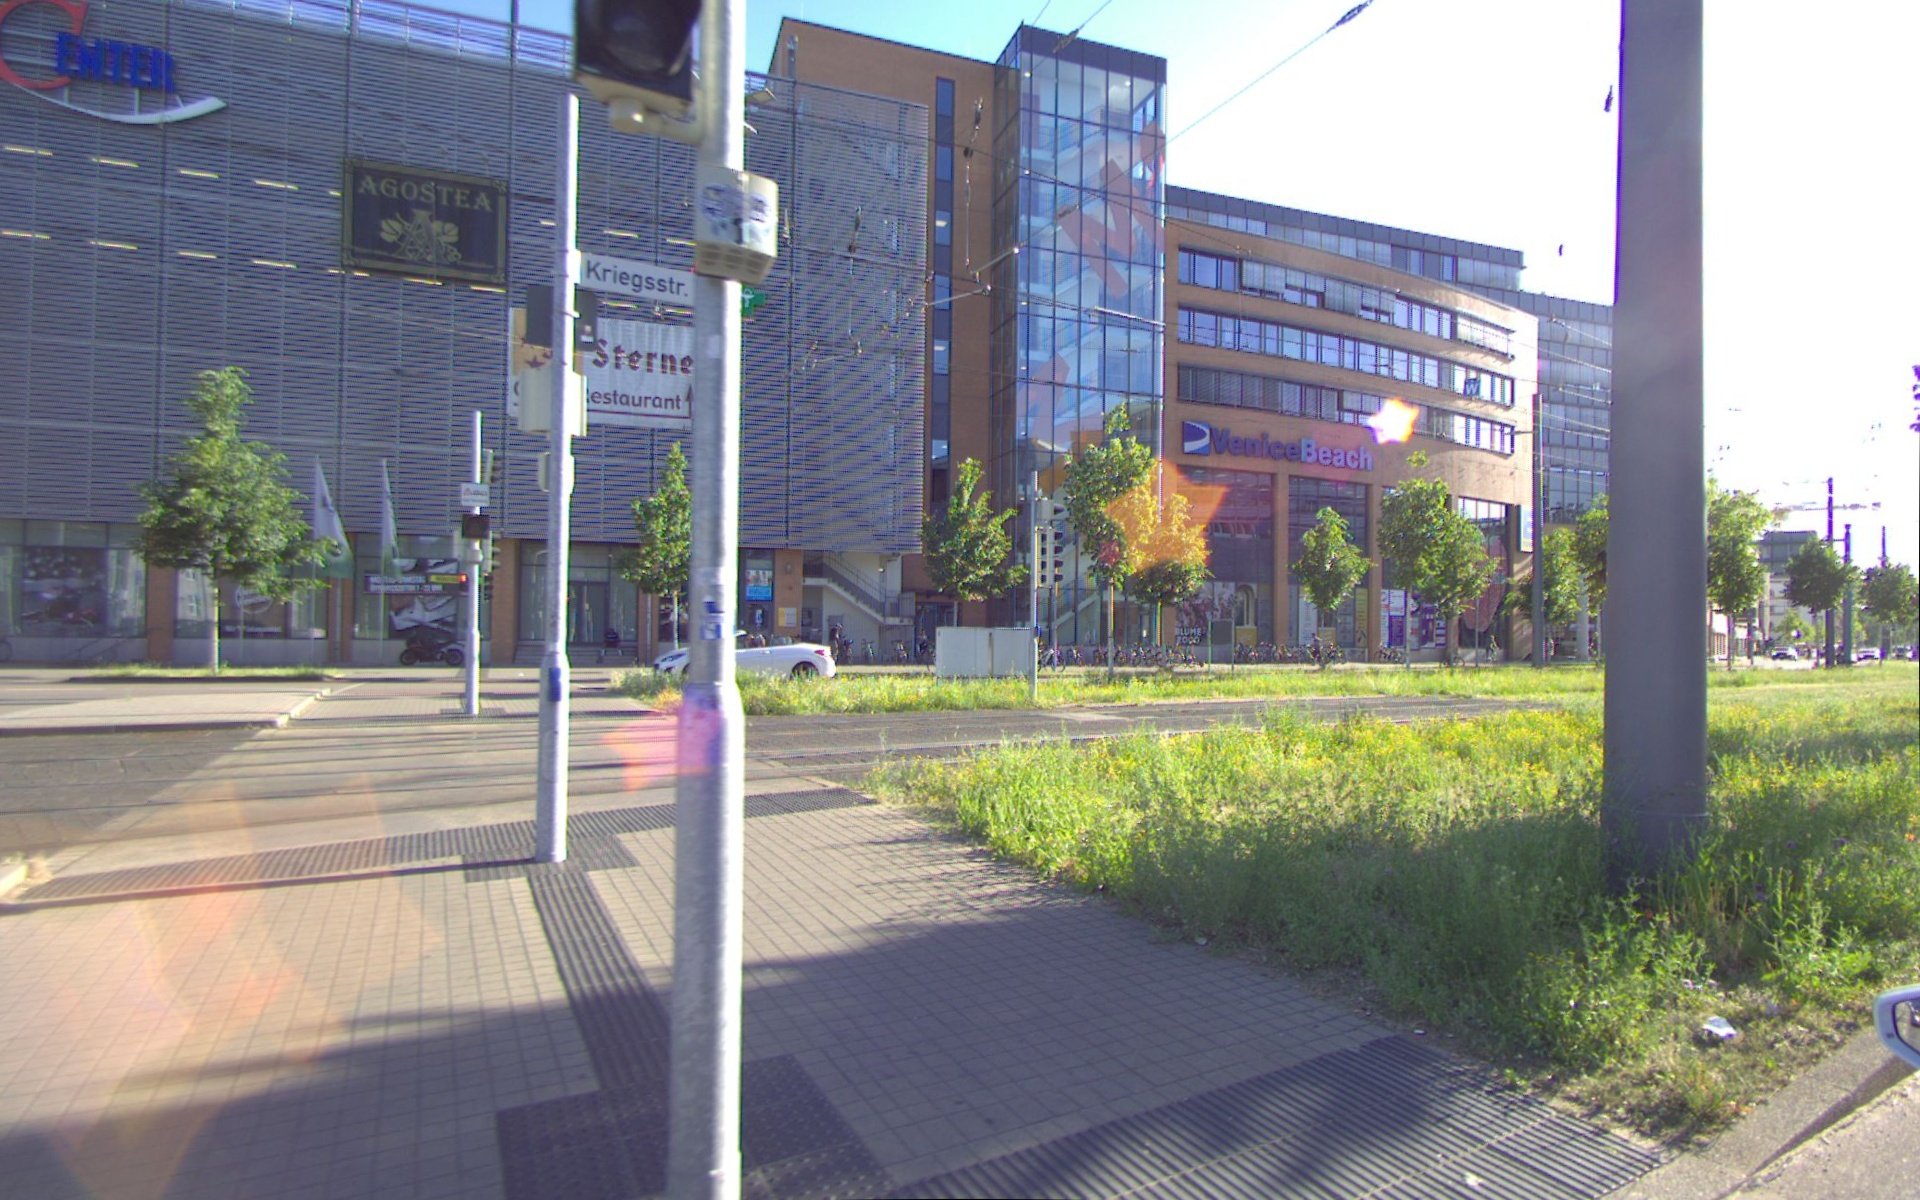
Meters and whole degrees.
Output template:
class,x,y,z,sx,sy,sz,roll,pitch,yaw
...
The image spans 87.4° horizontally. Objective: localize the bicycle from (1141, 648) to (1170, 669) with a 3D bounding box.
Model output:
class,x,y,z,sx,sy,sz,roll,pitch,yaw
bicycle,9.277,2.762,47.729,0.556,0.938,1.764,1,-2,-19

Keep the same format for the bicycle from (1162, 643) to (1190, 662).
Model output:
class,x,y,z,sx,sy,sz,roll,pitch,yaw
bicycle,11.177,2.703,52.036,0.556,0.938,1.764,1,-2,-19

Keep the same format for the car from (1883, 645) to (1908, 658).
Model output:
class,x,y,z,sx,sy,sz,roll,pitch,yaw
car,111.938,6.179,120.253,1.722,1.524,3.866,0,-2,37

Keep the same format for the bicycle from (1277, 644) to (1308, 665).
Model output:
class,x,y,z,sx,sy,sz,roll,pitch,yaw
bicycle,17.938,2.942,54.246,0.484,1.063,1.758,2,-2,-28

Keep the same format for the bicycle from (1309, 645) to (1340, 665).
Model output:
class,x,y,z,sx,sy,sz,roll,pitch,yaw
bicycle,20.167,3.033,55.646,0.484,1.063,1.758,2,-2,-28

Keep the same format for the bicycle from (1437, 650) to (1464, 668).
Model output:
class,x,y,z,sx,sy,sz,roll,pitch,yaw
bicycle,24.842,2.985,50.864,1.755,0.880,0.460,2,-2,-36

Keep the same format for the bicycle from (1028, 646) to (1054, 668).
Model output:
class,x,y,z,sx,sy,sz,roll,pitch,yaw
bicycle,3.643,2.548,45.348,0.483,0.938,1.764,1,-2,-19

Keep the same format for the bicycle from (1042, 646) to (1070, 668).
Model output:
class,x,y,z,sx,sy,sz,roll,pitch,yaw
bicycle,4.341,2.574,45.628,0.556,0.938,1.764,1,-2,-19

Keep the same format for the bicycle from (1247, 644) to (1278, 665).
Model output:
class,x,y,z,sx,sy,sz,roll,pitch,yaw
bicycle,16.001,2.864,53.175,0.484,1.063,1.758,2,-2,-28

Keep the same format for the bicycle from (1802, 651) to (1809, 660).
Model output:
class,x,y,z,sx,sy,sz,roll,pitch,yaw
bicycle,103.302,6.775,122.703,0.642,1.099,2.911,-1,-2,42

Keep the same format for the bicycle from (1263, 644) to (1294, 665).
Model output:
class,x,y,z,sx,sy,sz,roll,pitch,yaw
bicycle,17.030,2.905,53.755,0.484,1.063,1.758,2,-2,-28

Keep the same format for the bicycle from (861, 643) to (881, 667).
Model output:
class,x,y,z,sx,sy,sz,roll,pitch,yaw
bicycle,-3.628,2.254,41.022,0.455,0.938,1.394,1,-2,-19

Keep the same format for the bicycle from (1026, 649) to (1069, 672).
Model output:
class,x,y,z,sx,sy,sz,roll,pitch,yaw
bicycle,3.485,2.410,40.074,1.747,0.880,0.384,2,-2,-24

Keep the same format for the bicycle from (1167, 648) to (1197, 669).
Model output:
class,x,y,z,sx,sy,sz,roll,pitch,yaw
bicycle,10.642,2.814,48.291,0.556,0.938,1.764,1,-2,-19

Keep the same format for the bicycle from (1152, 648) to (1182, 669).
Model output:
class,x,y,z,sx,sy,sz,roll,pitch,yaw
bicycle,9.879,2.785,47.975,0.556,0.938,1.764,1,-2,-19

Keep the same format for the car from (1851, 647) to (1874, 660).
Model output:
class,x,y,z,sx,sy,sz,roll,pitch,yaw
car,110.615,6.508,123.201,1.722,1.524,3.866,0,-2,37

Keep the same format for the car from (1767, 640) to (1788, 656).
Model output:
class,x,y,z,sx,sy,sz,roll,pitch,yaw
car,103.930,6.085,127.716,1.970,2.040,3.981,-1,-2,40

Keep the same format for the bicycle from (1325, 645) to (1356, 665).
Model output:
class,x,y,z,sx,sy,sz,roll,pitch,yaw
bicycle,21.337,3.082,56.395,0.484,1.063,1.758,2,-2,-28

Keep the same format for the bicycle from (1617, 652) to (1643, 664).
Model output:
class,x,y,z,sx,sy,sz,roll,pitch,yaw
bicycle,56.230,4.831,84.292,1.739,0.964,0.540,0,-2,28

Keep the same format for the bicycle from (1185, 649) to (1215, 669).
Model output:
class,x,y,z,sx,sy,sz,roll,pitch,yaw
bicycle,11.609,2.850,48.669,0.556,0.938,1.764,1,-2,-19

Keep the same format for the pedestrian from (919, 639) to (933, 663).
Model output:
class,x,y,z,sx,sy,sz,roll,pitch,yaw
pedestrian,-1.571,2.335,46.280,0.443,1.068,0.626,2,-2,-23

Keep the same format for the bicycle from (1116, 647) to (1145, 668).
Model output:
class,x,y,z,sx,sy,sz,roll,pitch,yaw
bicycle,7.991,2.714,47.221,0.556,0.938,1.764,1,-2,-19

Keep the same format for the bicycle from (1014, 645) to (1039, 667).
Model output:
class,x,y,z,sx,sy,sz,roll,pitch,yaw
bicycle,2.976,2.520,45.085,0.483,0.938,1.764,1,-2,-19

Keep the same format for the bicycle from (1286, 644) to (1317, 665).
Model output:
class,x,y,z,sx,sy,sz,roll,pitch,yaw
bicycle,18.525,2.965,54.562,0.484,1.063,1.758,2,-2,-28

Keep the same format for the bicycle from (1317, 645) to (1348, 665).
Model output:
class,x,y,z,sx,sy,sz,roll,pitch,yaw
bicycle,20.746,3.057,56.010,0.484,1.063,1.758,2,-2,-28

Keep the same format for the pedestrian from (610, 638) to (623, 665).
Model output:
class,x,y,z,sx,sy,sz,roll,pitch,yaw
pedestrian,-13.526,2.041,39.570,0.417,1.052,0.565,1,-2,-14

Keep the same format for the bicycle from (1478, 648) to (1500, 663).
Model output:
class,x,y,z,sx,sy,sz,roll,pitch,yaw
bicycle,31.831,3.331,60.434,1.872,0.922,0.494,2,-2,-39

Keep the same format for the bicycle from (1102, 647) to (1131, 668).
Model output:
class,x,y,z,sx,sy,sz,roll,pitch,yaw
bicycle,7.319,2.688,46.941,0.556,0.938,1.764,1,-2,-19

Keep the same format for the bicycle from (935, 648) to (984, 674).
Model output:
class,x,y,z,sx,sy,sz,roll,pitch,yaw
bicycle,-0.027,2.189,36.019,1.747,0.935,0.384,2,-2,-24

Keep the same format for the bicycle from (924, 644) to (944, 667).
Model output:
class,x,y,z,sx,sy,sz,roll,pitch,yaw
bicycle,-1.119,2.363,42.800,0.455,0.938,1.394,1,-2,-19

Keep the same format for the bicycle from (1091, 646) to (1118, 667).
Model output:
class,x,y,z,sx,sy,sz,roll,pitch,yaw
bicycle,6.738,2.631,46.768,0.483,0.938,1.764,1,-2,-19

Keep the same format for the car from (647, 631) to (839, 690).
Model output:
class,x,y,z,sx,sy,sz,roll,pitch,yaw
car,-5.322,1.487,24.718,4.344,1.345,1.802,2,-3,-24

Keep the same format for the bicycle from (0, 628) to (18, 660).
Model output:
class,x,y,z,sx,sy,sz,roll,pitch,yaw
bicycle,-30.827,1.375,31.362,1.937,0.993,0.584,2,-2,-20

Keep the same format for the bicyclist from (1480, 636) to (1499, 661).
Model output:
class,x,y,z,sx,sy,sz,roll,pitch,yaw
bicyclist,31.870,2.942,60.462,1.008,1.484,0.672,2,-2,-39

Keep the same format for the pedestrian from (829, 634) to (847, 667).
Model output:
class,x,y,z,sx,sy,sz,roll,pitch,yaw
pedestrian,-4.951,2.039,40.743,0.621,1.306,0.447,2,-2,-24

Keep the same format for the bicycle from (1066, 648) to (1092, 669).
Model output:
class,x,y,z,sx,sy,sz,roll,pitch,yaw
bicycle,5.457,2.674,46.165,0.483,0.938,1.764,1,-2,-19

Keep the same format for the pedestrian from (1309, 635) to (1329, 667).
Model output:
class,x,y,z,sx,sy,sz,roll,pitch,yaw
pedestrian,19.073,2.710,53.393,0.668,1.690,0.741,2,-2,-30

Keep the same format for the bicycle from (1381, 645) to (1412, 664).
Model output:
class,x,y,z,sx,sy,sz,roll,pitch,yaw
bicycle,25.637,3.181,59.030,0.484,1.063,1.758,2,-2,-28

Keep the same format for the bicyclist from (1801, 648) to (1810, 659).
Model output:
class,x,y,z,sx,sy,sz,roll,pitch,yaw
bicyclist,103.116,6.510,122.510,0.749,1.393,0.946,-1,-2,42

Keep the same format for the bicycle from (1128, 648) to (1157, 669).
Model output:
class,x,y,z,sx,sy,sz,roll,pitch,yaw
bicycle,8.625,2.737,47.463,0.556,0.938,1.764,1,-2,-19

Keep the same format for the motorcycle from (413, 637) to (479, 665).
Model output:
class,x,y,z,sx,sy,sz,roll,pitch,yaw
motorcycle,-17.799,1.763,34.817,1.994,0.932,0.426,2,-2,-21

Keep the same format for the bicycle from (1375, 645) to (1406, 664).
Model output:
class,x,y,z,sx,sy,sz,roll,pitch,yaw
bicycle,25.129,3.160,58.703,0.484,1.063,1.758,2,-2,-28

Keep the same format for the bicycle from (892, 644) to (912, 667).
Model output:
class,x,y,z,sx,sy,sz,roll,pitch,yaw
bicycle,-2.440,2.312,42.218,0.455,0.938,1.394,1,-2,-19
